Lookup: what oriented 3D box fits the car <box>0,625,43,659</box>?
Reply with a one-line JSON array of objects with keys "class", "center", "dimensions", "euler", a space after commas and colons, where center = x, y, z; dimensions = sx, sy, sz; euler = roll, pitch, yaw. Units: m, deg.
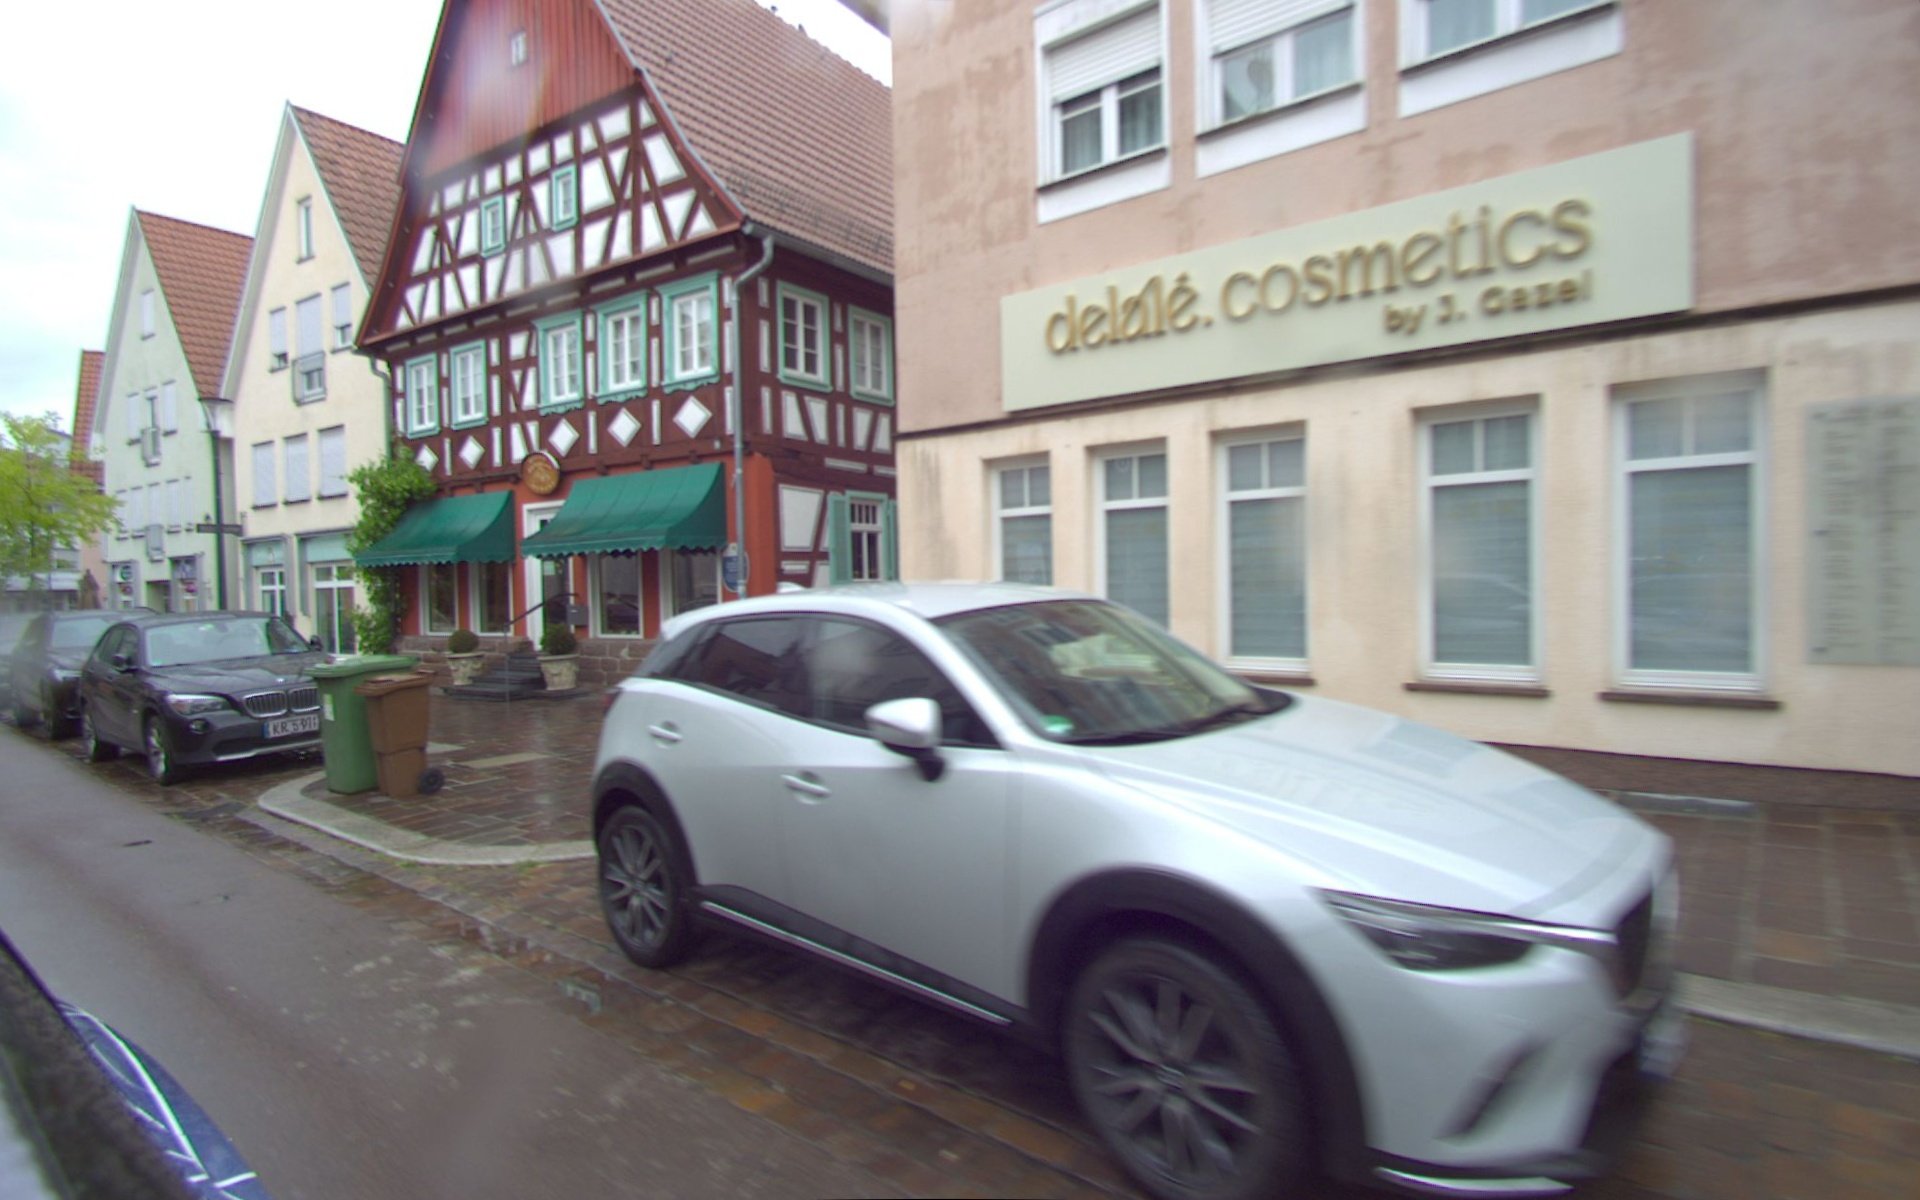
[{"class": "car", "center": [-52.222, 2.294, 55.159], "dimensions": [1.667, 1.702, 3.969], "euler": [-1, 1, -15]}]

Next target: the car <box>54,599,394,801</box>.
[{"class": "car", "center": [-7.807, 0.850, 10.584], "dimensions": [4.278, 1.563, 1.815], "euler": [0, 4, 40]}]

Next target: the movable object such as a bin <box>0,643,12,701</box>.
[{"class": "movable object such as a bin", "center": [-20.739, 1.555, 21.674], "dimensions": [0.523, 1.210, 0.595], "euler": [0, 1, 44]}]

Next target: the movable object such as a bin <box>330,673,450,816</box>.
[{"class": "movable object such as a bin", "center": [-4.360, 1.079, 7.749], "dimensions": [0.562, 0.962, 0.649], "euler": [0, 1, 43]}]

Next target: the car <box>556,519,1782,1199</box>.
[{"class": "car", "center": [0.359, 0.647, 3.673], "dimensions": [3.999, 1.578, 1.808], "euler": [0, 1, 42]}]

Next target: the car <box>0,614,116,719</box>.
[{"class": "car", "center": [-17.721, 1.176, 19.379], "dimensions": [4.479, 1.687, 1.753], "euler": [0, 2, 43]}]

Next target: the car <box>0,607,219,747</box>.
[{"class": "car", "center": [-12.461, 0.964, 14.623], "dimensions": [4.537, 1.687, 1.815], "euler": [0, 1, 40]}]

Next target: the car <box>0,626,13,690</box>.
[{"class": "car", "center": [-26.323, 1.524, 26.749], "dimensions": [3.976, 1.557, 1.576], "euler": [0, 1, 42]}]

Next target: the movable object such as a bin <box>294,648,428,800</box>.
[{"class": "movable object such as a bin", "center": [-4.850, 0.962, 8.189], "dimensions": [0.763, 1.090, 0.739], "euler": [0, 1, 43]}]

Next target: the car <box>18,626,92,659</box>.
[{"class": "car", "center": [-54.041, 2.485, 60.500], "dimensions": [1.666, 1.702, 4.292], "euler": [-1, 1, -18]}]
